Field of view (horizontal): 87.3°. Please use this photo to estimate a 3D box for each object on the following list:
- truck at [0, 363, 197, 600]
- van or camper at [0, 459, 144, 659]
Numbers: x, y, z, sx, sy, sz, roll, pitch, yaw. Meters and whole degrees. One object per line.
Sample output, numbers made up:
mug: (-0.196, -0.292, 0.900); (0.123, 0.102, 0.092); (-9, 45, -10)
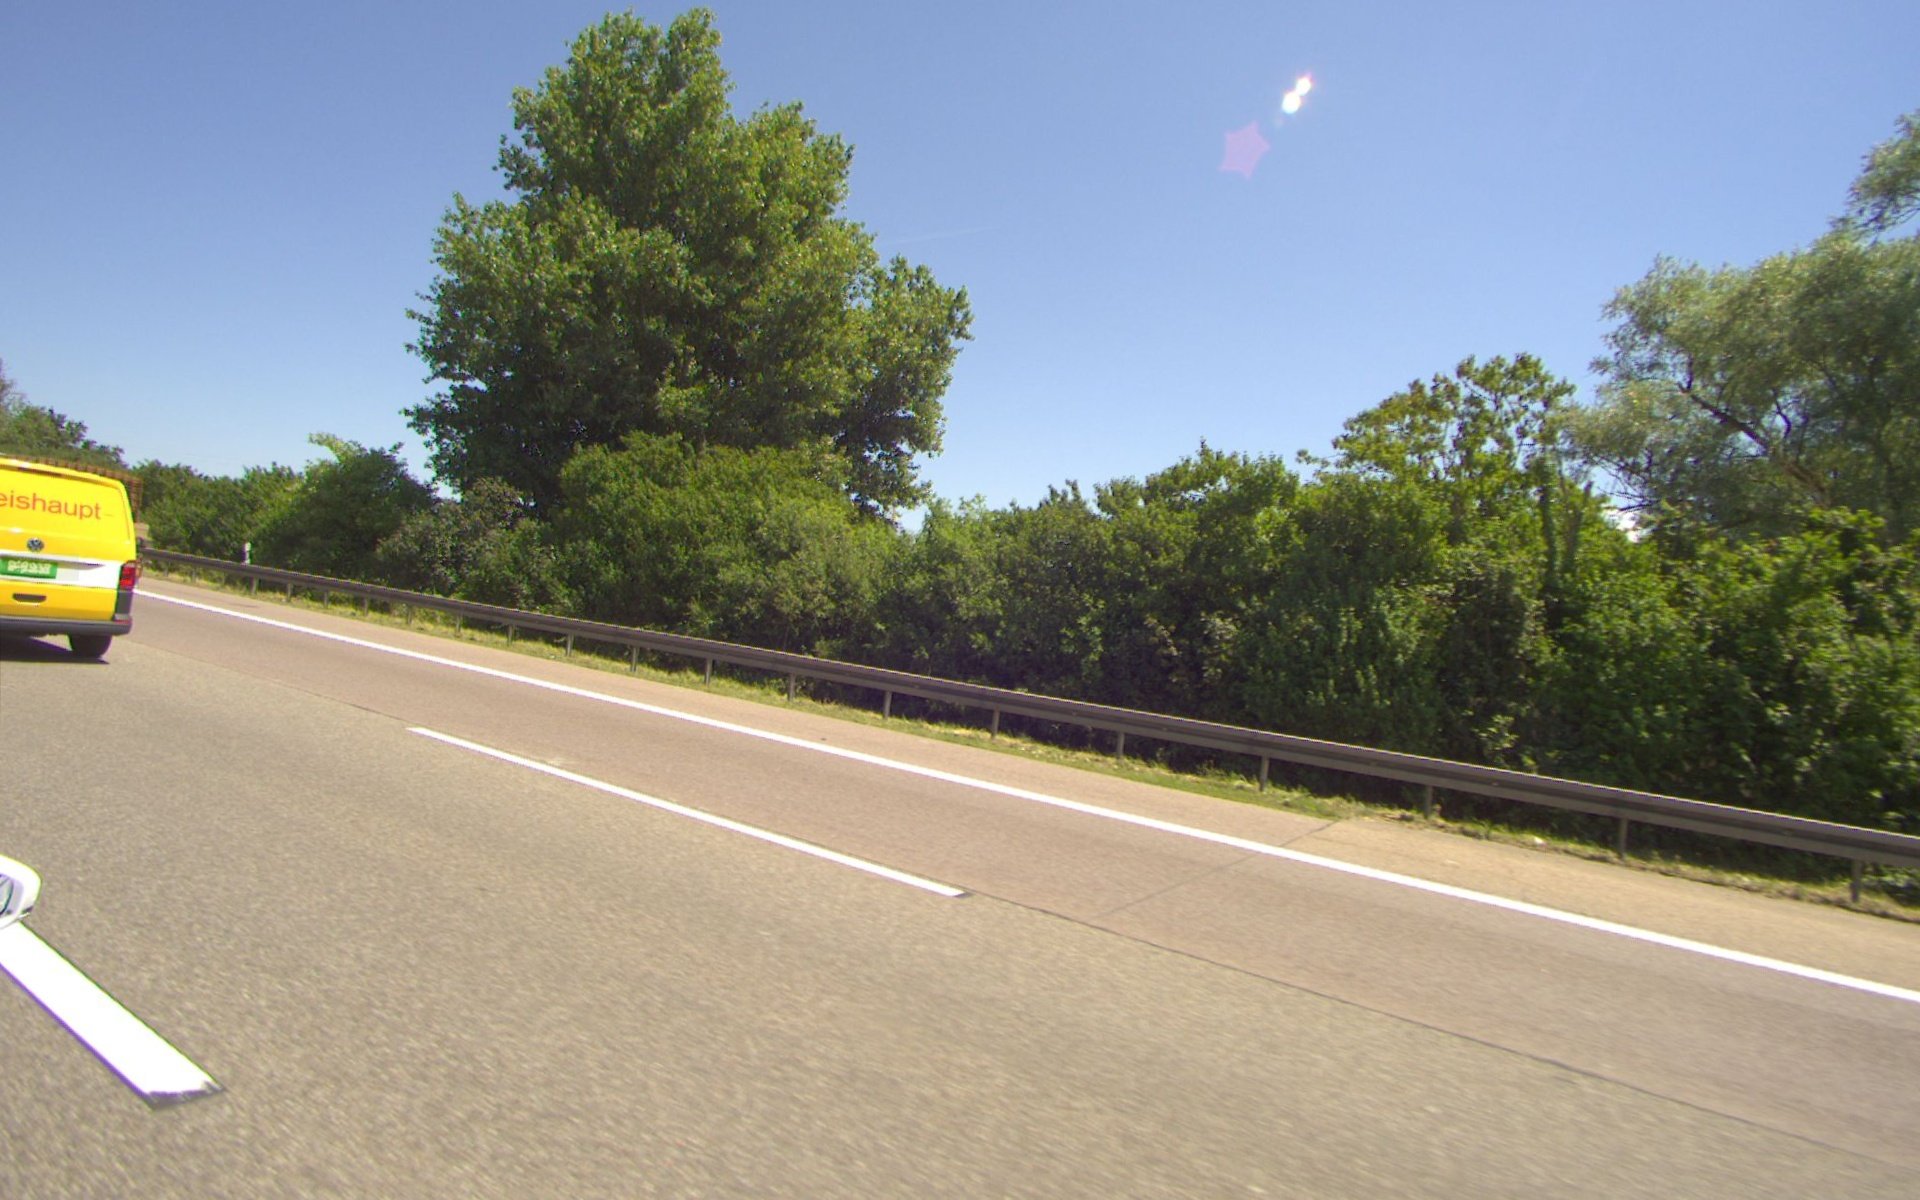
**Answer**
truck: (-23.572, -2.810, 23.763); (16.341, 4.003, 2.975); (6, -2, 32)
van or camper: (-11.637, -0.651, 11.369); (4.887, 1.931, 1.998); (6, -2, 30)
